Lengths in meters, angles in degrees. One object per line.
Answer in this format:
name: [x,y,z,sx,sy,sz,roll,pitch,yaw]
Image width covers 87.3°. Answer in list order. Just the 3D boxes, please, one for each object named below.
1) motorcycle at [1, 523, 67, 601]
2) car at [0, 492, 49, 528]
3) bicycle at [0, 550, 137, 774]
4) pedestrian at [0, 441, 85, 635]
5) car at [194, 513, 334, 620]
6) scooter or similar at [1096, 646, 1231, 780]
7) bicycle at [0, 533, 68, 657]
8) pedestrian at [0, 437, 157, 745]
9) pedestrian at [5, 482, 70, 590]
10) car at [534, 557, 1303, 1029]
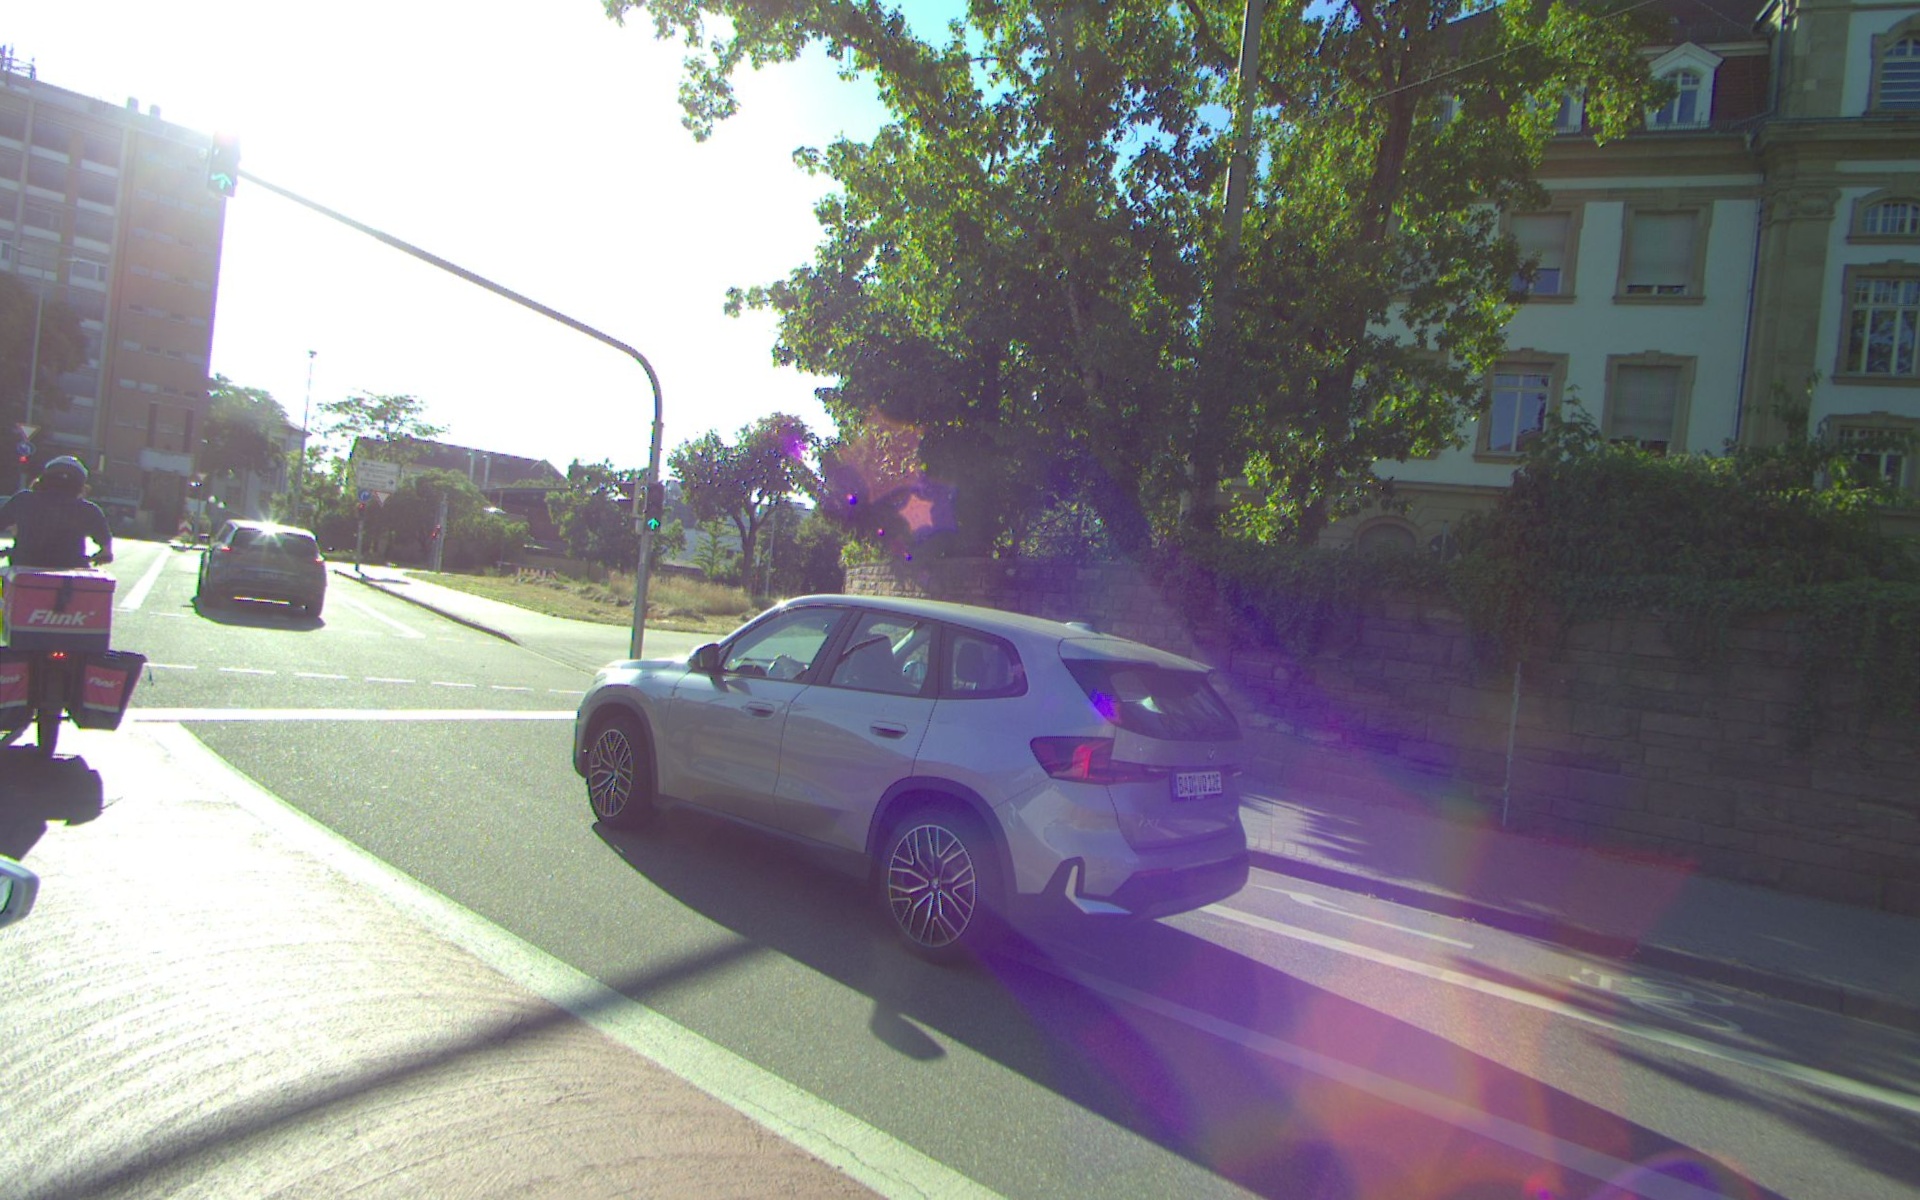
motorcycle: [-14.995,-0.646,16.271,0.612,1.110,2.331,8,-2,-45]
car: [-47.565,-4.561,49.587,1.772,1.549,3.997,6,0,-4]
bicycle: [-5.940,0.323,6.491,2.341,1.184,0.553,5,-2,43]
pedestrian: [-9.803,-0.637,10.624,0.657,1.890,0.862,8,-2,-42]
car: [-13.990,-0.684,20.111,1.824,1.708,4.323,9,-3,-39]
scooter or similar: [2.255,1.244,11.315,0.570,1.285,1.413,6,0,-30]
bicycle: [-9.879,-0.087,10.634,0.562,1.164,1.927,8,-2,-42]
pedestrian: [-6.112,-0.046,6.741,0.943,1.890,0.805,6,-2,41]
pedestrian: [-14.832,-1.019,16.164,0.586,1.617,1.012,8,-2,-45]
car: [-0.491,0.781,5.906,4.266,1.612,1.787,6,-2,39]
